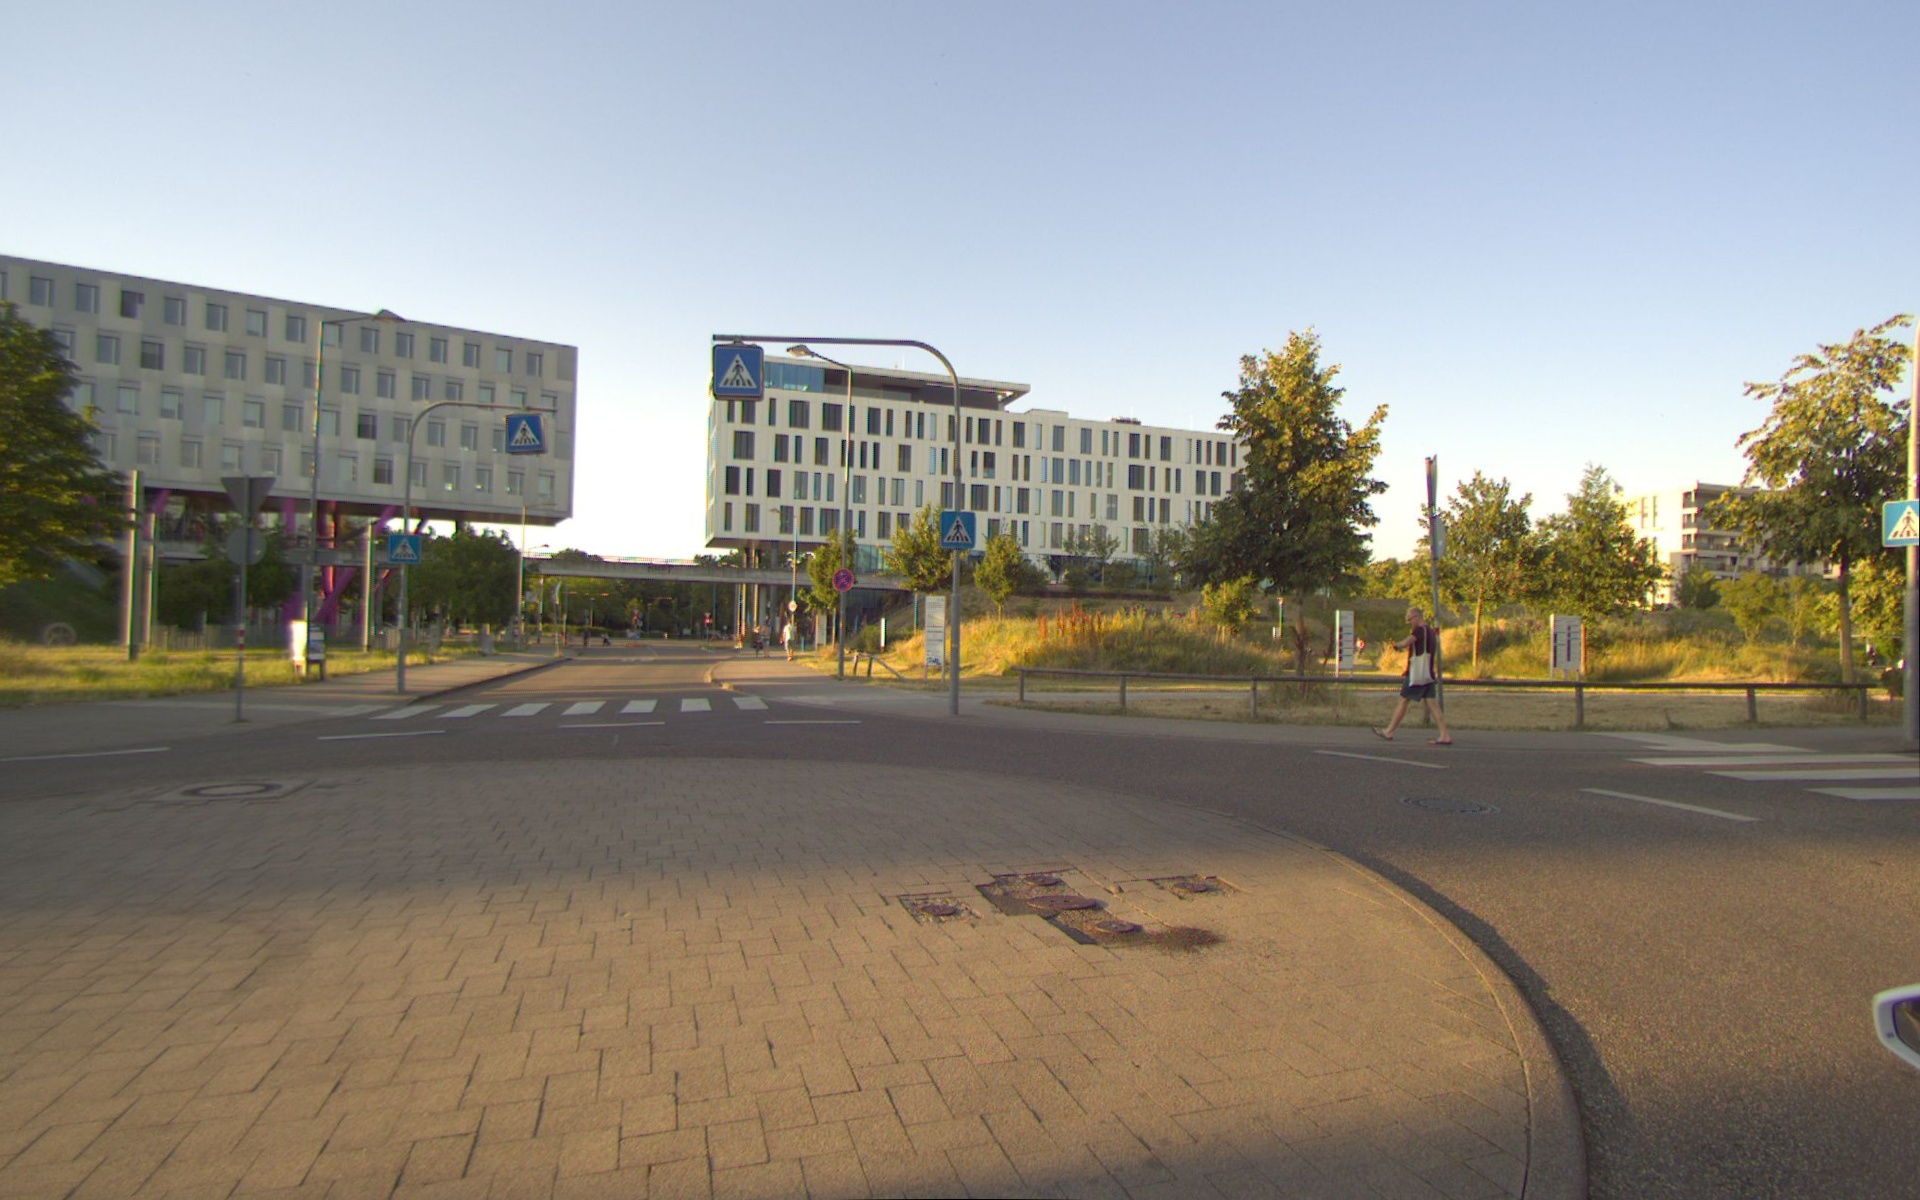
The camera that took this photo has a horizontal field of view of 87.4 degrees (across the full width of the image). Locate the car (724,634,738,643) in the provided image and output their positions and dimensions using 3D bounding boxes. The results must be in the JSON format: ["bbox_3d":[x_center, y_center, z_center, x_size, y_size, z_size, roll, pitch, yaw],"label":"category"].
[{"bbox_3d":[-44.806,7.585,196.258,1.471,1.627,3.405,1,-1,9],"label":"car"}]

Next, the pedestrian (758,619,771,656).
[{"bbox_3d":[-9.800,1.893,50.302,0.586,1.825,0.816,2,-1,-11],"label":"pedestrian"}]

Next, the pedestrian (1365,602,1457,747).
[{"bbox_3d":[5.841,0.948,13.036,0.722,1.808,0.799,2,-1,-15],"label":"pedestrian"}]

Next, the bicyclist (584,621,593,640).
[{"bbox_3d":[-32.601,2.687,88.173,0.606,1.684,1.034,2,-1,-13],"label":"bicyclist"}]

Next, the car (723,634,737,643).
[{"bbox_3d":[-45.792,7.604,200.154,1.471,1.627,3.405,1,-1,9],"label":"car"}]

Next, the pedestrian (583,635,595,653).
[{"bbox_3d":[-39.202,4.686,106.074,1.045,1.858,0.888,2,-1,-31],"label":"pedestrian"}]

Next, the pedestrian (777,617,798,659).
[{"bbox_3d":[-7.571,1.669,44.098,0.819,1.790,0.816,2,-1,-11],"label":"pedestrian"}]

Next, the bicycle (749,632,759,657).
[{"bbox_3d":[-10.305,2.237,50.229,0.443,1.184,1.937,2,-1,-12],"label":"bicycle"}]

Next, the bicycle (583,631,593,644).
[{"bbox_3d":[-32.632,3.261,88.215,0.531,1.057,1.920,2,-1,-13],"label":"bicycle"}]

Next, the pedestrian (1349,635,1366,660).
[{"bbox_3d":[29.459,3.536,74.505,0.803,1.790,0.832,2,-1,-10],"label":"pedestrian"}]
